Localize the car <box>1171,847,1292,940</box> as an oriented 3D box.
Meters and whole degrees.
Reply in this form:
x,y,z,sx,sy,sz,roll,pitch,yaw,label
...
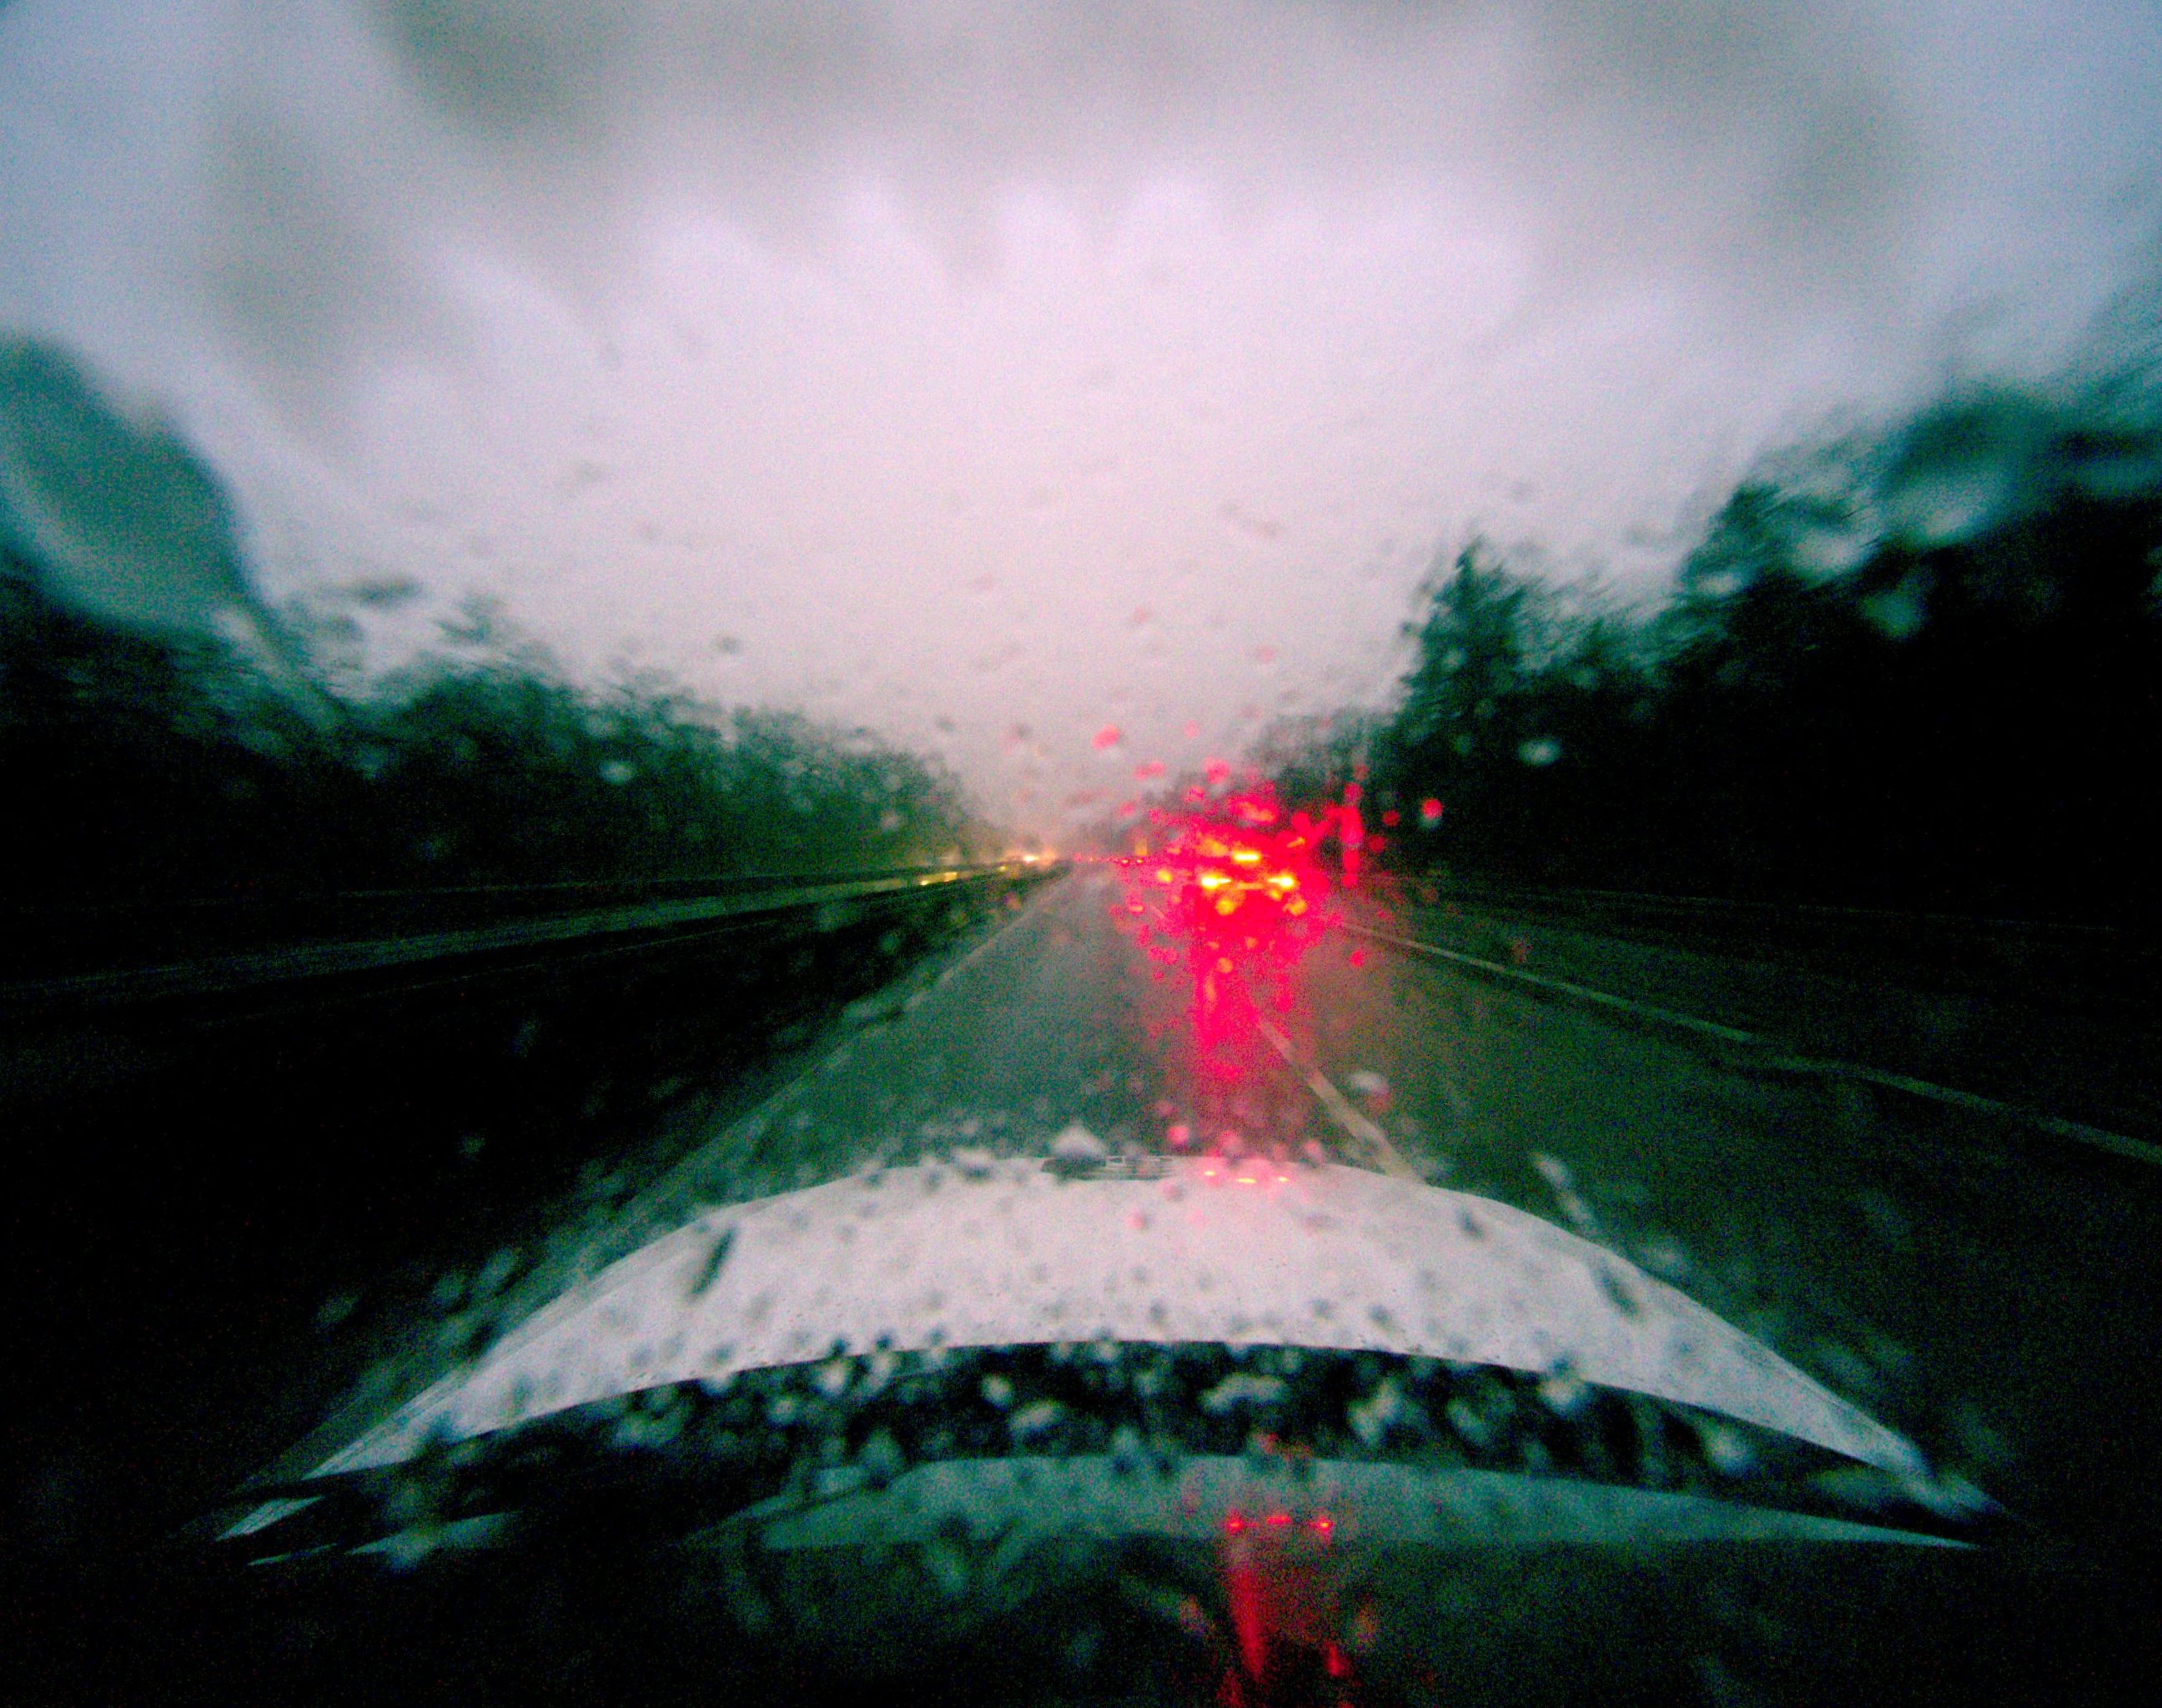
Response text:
x,y,z,sx,sy,sz,roll,pitch,yaw,label
3.134,0.783,17.780,1.918,1.791,3.940,-1,-1,0,car

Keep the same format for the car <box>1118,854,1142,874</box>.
x,y,z,sx,sy,sz,roll,pitch,yaw,label
4.335,0.888,73.129,1.985,1.715,3.830,-1,-1,1,car

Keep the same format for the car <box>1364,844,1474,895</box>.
x,y,z,sx,sy,sz,roll,pitch,yaw,label
10.147,0.464,24.779,1.857,1.419,4.002,-1,-1,3,car
